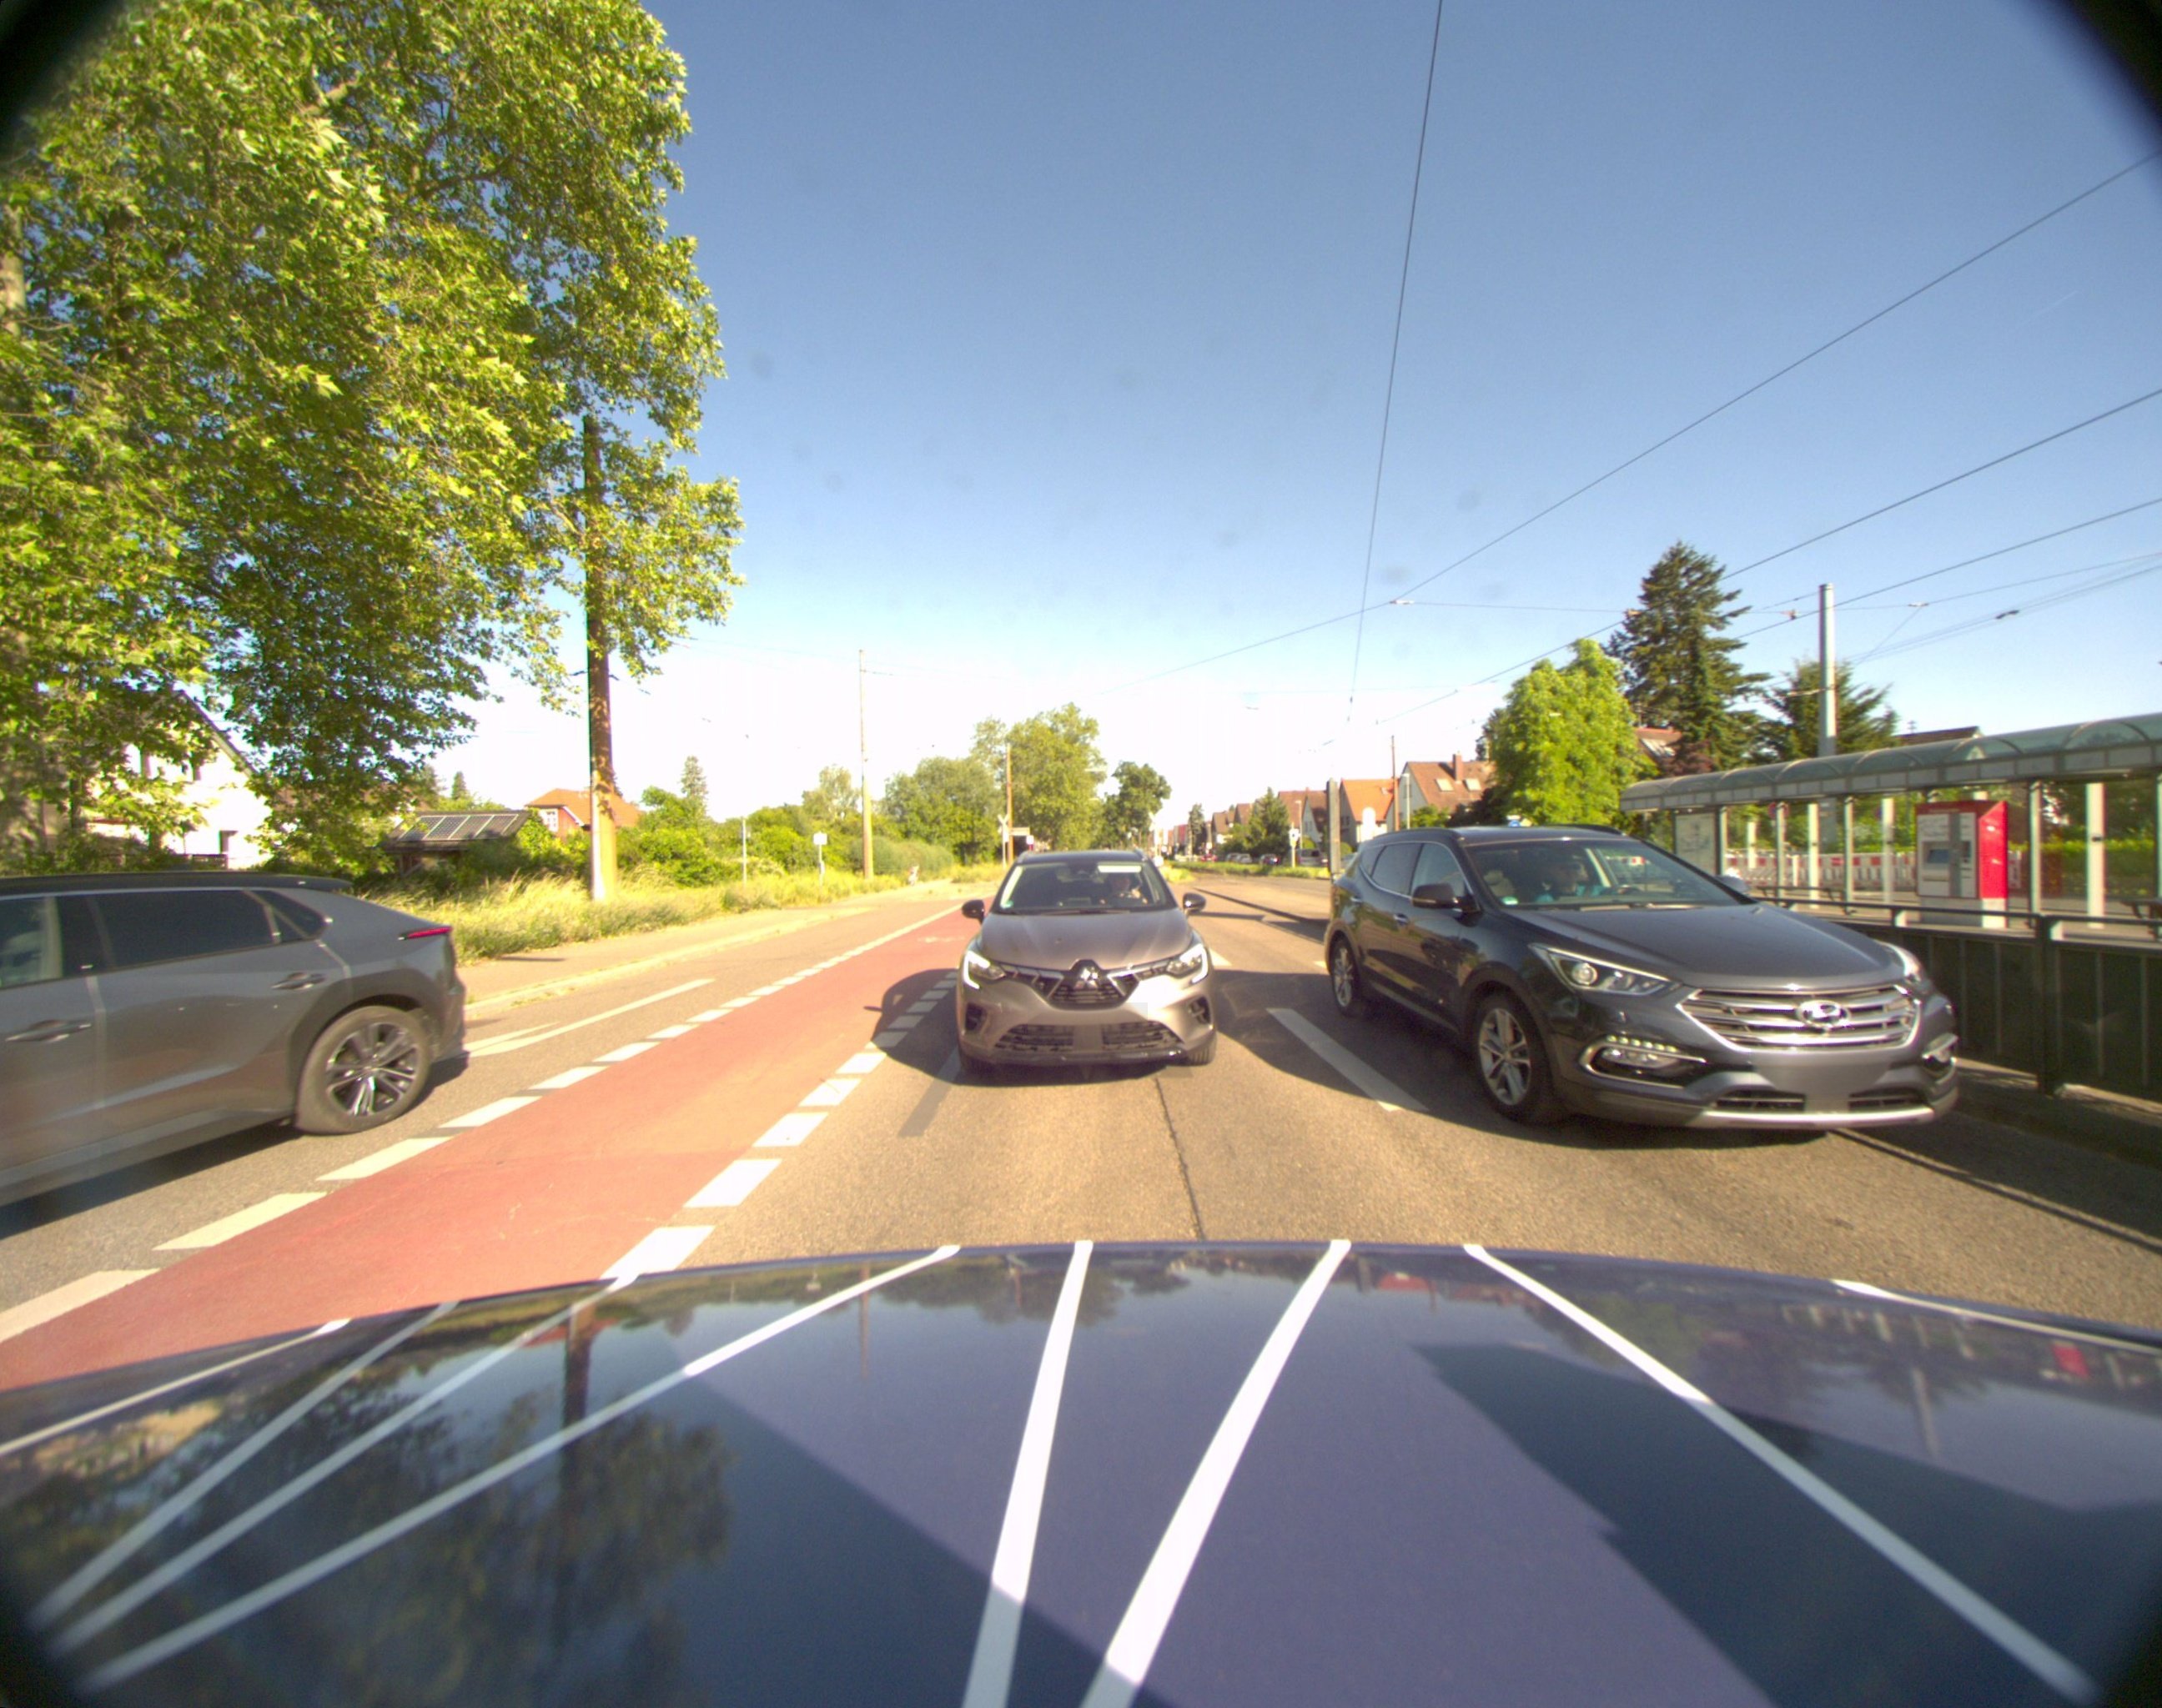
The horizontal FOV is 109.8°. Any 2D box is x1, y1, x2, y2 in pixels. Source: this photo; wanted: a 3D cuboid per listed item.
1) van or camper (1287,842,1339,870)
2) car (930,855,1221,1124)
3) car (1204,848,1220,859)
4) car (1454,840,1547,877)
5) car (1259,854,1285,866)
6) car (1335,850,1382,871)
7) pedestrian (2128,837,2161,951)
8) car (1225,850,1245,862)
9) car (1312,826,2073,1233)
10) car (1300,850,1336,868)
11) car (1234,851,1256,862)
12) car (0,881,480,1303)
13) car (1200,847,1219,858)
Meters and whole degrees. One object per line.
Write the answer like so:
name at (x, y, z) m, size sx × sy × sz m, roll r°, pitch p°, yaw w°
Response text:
van or camper at (17.235, 0.167, 56.856) m, size 1.998 × 1.817 × 5.988 m, roll -4°, pitch -1°, yaw 0°
car at (-0.046, 0.802, 6.269) m, size 1.673 × 1.529 × 3.586 m, roll -2°, pitch 0°, yaw -1°
car at (22.063, -0.106, 127.952) m, size 1.998 × 1.852 × 4.584 m, roll -2°, pitch 0°, yaw 1°
car at (17.118, 0.183, 31.243) m, size 1.608 × 1.394 × 4.016 m, roll -1°, pitch 0°, yaw 0°
car at (22.123, 0.663, 87.977) m, size 1.998 × 1.363 × 4.310 m, roll -2°, pitch 0°, yaw 1°
car at (21.718, 0.449, 59.584) m, size 1.888 × 1.464 × 4.613 m, roll -3°, pitch 1°, yaw -1°
pedestrian at (14.224, 0.515, 9.417) m, size 1.063 × 1.444 × 1.007 m, roll 1°, pitch 1°, yaw 0°
car at (21.796, 0.299, 107.404) m, size 1.888 × 1.552 × 4.536 m, roll -3°, pitch 0°, yaw 0°
car at (3.128, 0.713, 5.218) m, size 1.780 × 1.620 × 4.288 m, roll -1°, pitch 0°, yaw 0°
car at (21.613, 0.401, 69.373) m, size 1.912 × 1.457 × 4.440 m, roll -3°, pitch 1°, yaw 0°
car at (22.054, 0.331, 102.350) m, size 1.888 × 1.464 × 4.838 m, roll -3°, pitch 0°, yaw 1°
car at (-5.246, 1.011, 3.101) m, size 1.770 × 1.621 × 4.499 m, roll -1°, pitch 0°, yaw 4°
car at (17.285, -0.198, 102.526) m, size 1.740 × 1.511 × 4.344 m, roll -1°, pitch 0°, yaw 0°
